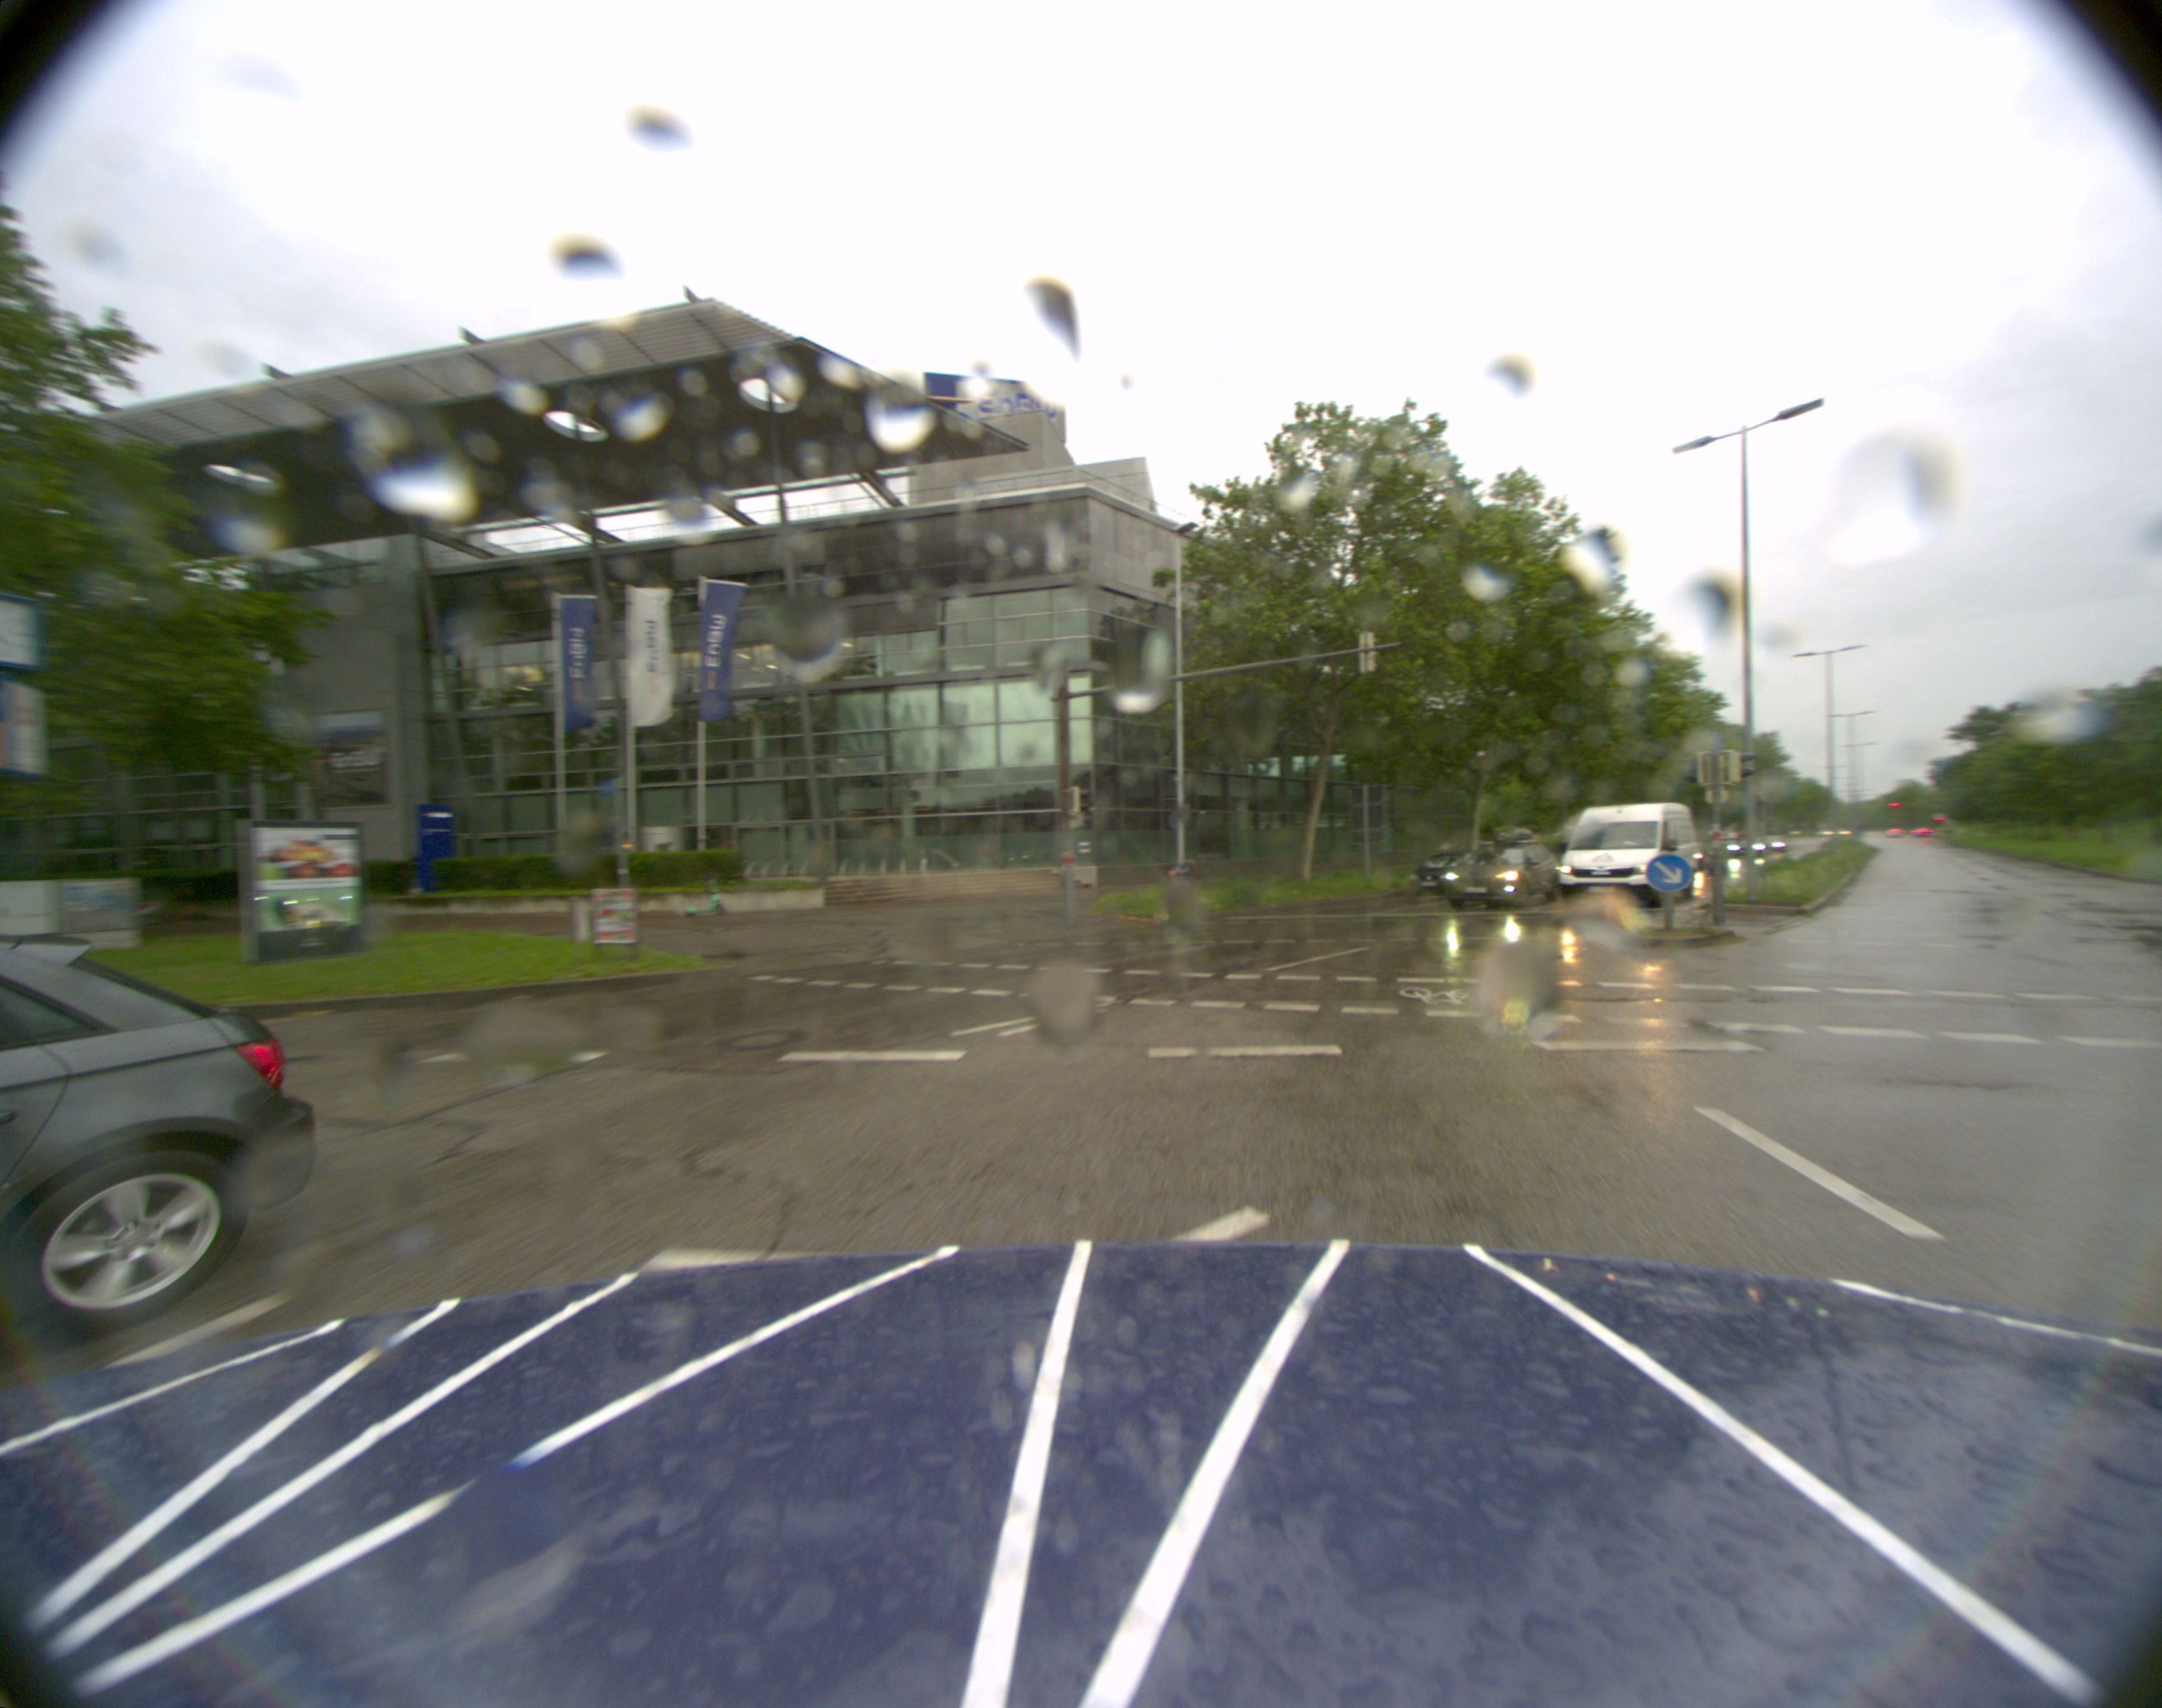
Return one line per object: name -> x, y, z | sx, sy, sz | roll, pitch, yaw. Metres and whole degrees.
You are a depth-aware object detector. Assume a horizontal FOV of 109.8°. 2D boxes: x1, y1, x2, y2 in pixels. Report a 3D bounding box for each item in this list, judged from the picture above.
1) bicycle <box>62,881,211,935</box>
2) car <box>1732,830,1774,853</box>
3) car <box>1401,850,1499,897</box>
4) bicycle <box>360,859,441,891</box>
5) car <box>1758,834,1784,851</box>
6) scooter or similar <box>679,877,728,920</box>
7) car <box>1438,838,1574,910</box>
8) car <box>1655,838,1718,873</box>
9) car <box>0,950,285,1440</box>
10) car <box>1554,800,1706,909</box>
bicycle -> -28.688, 1.615, 23.160 | 2.677, 1.434, 0.805 | -3, 0, -32
car -> 51.339, -0.961, 58.028 | 3.932, 1.576, 1.904 | -2, 1, -41
car -> 12.882, 0.621, 26.400 | 4.008, 1.428, 1.798 | -2, 0, -45
bicycle -> -31.590, 0.941, 35.397 | 1.192, 1.324, 3.690 | -2, 1, -14
car -> 65.198, -1.105, 71.781 | 3.932, 1.514, 1.577 | -2, 1, -45
scooter or similar -> -10.300, 1.211, 20.745 | 1.173, 1.132, 0.341 | -1, 1, 7
car -> 11.605, 0.468, 20.644 | 4.336, 1.738, 1.994 | -2, 1, -43
car -> 31.700, 0.030, 39.728 | 4.007, 1.674, 1.864 | -2, 1, -41
car -> -4.529, 1.116, 1.397 | 1.838, 1.390, 3.758 | -3, 0, 18
car -> 14.286, -0.053, 19.584 | 5.973, 2.420, 1.965 | -2, 1, -42
